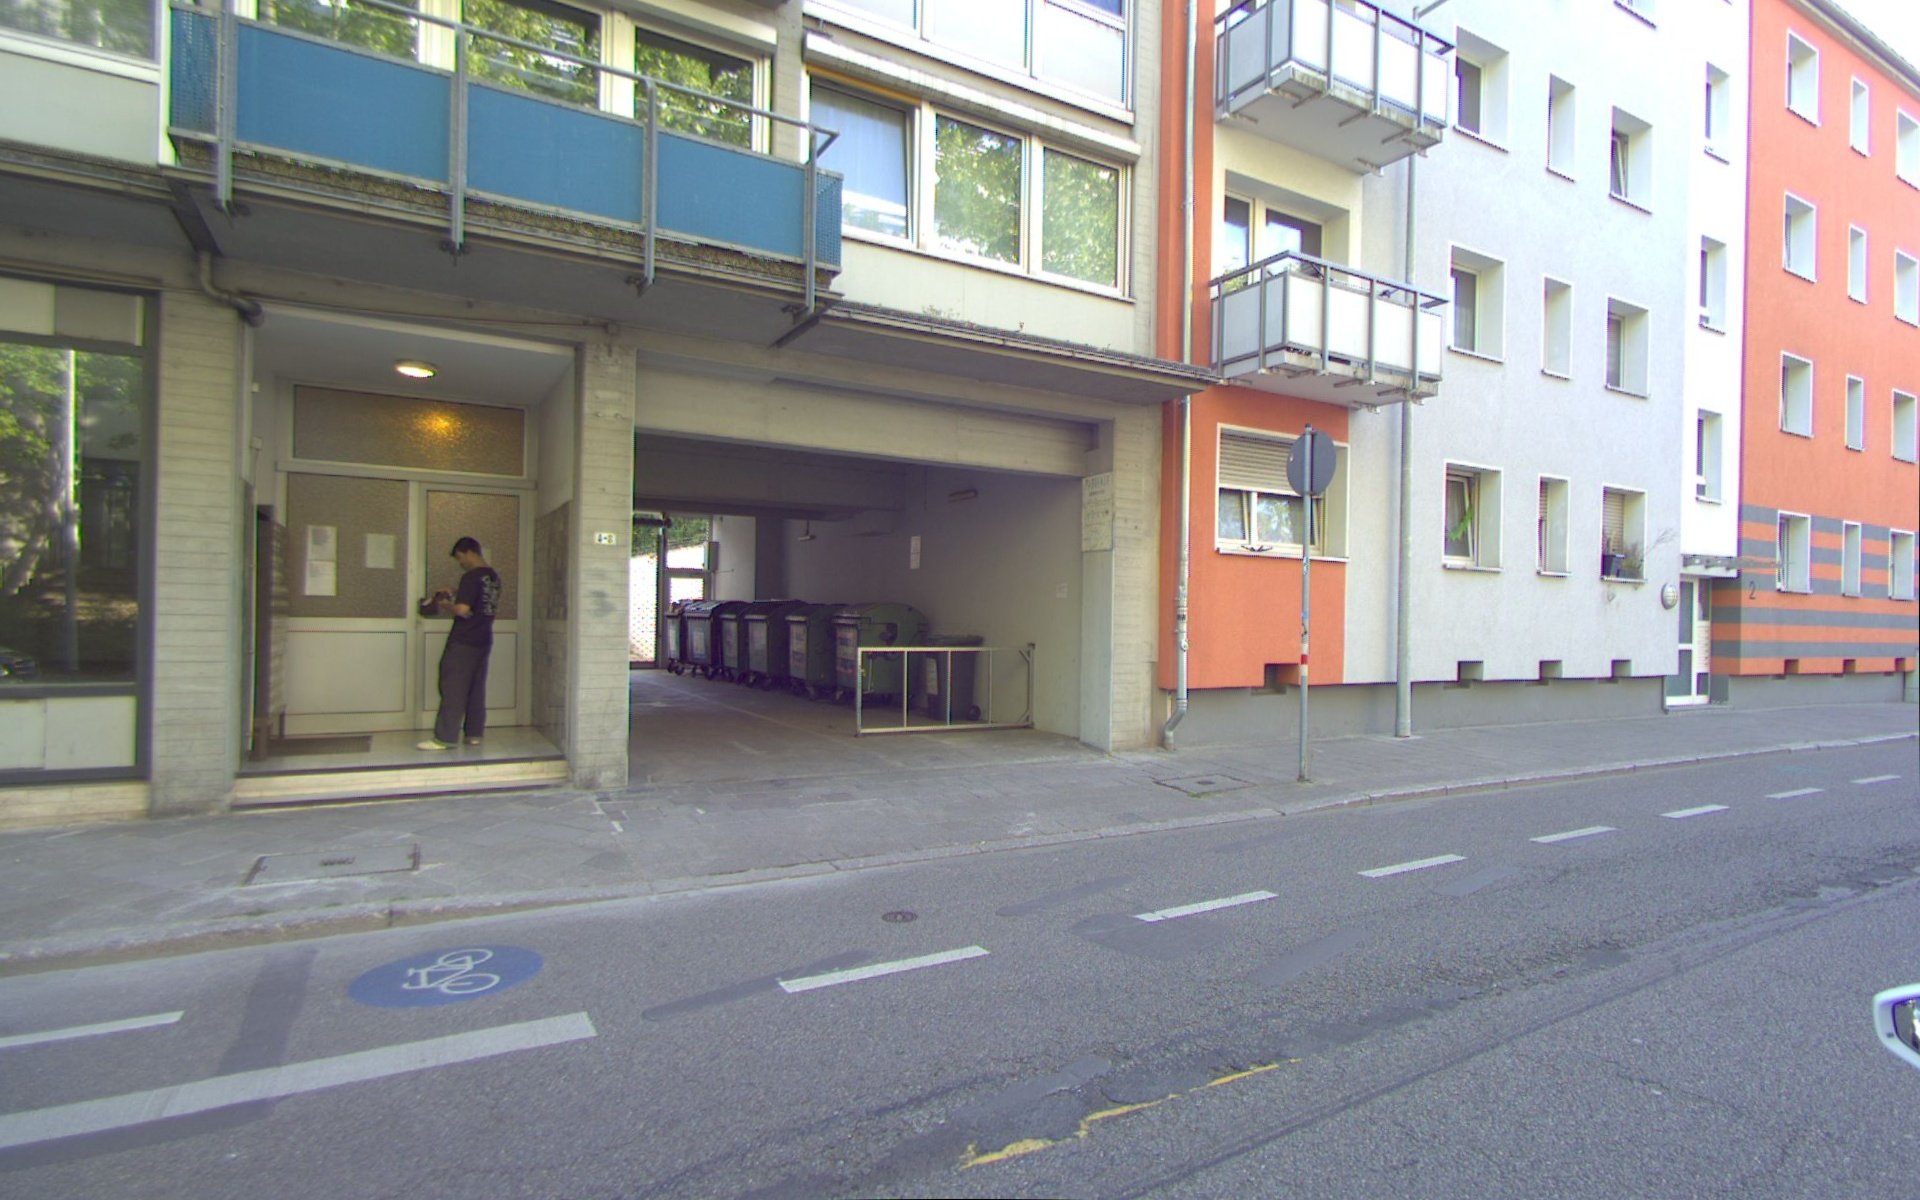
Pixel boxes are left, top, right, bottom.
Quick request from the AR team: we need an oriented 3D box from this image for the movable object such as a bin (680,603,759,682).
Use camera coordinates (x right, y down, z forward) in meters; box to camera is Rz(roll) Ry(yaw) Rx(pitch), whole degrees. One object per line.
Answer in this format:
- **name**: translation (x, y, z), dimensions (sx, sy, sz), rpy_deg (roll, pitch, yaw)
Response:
- **movable object such as a bin**: translation (-4.527, 0.784, 18.868), dimensions (1.014, 1.409, 1.264), rpy_deg (1, 0, -37)

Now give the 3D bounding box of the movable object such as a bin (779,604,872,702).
- **movable object such as a bin**: translation (-2.077, 0.786, 15.357), dimensions (1.011, 1.409, 1.319), rpy_deg (1, 0, -27)

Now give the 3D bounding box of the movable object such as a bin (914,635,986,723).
- **movable object such as a bin**: translation (-0.132, 0.979, 12.707), dimensions (0.704, 1.054, 0.583), rpy_deg (1, 0, -30)

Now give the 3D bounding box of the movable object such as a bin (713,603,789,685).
- **movable object such as a bin**: translation (-3.732, 0.768, 17.916), dimensions (1.012, 1.409, 1.046), rpy_deg (1, 0, -31)

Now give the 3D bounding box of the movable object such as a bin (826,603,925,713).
- **movable object such as a bin**: translation (-1.197, 0.778, 14.050), dimensions (1.009, 1.438, 1.321), rpy_deg (1, 0, -23)

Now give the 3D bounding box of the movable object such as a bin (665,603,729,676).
- **movable object such as a bin**: translation (-5.339, 0.776, 20.325), dimensions (1.010, 1.409, 1.246), rpy_deg (1, 0, -27)

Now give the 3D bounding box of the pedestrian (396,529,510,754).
- **pedestrian**: translation (-4.180, 0.327, 8.297), dimensions (0.518, 1.764, 0.630), rpy_deg (1, 0, 27)

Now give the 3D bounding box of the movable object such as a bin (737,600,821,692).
- **movable object such as a bin**: translation (-3.057, 0.742, 16.878), dimensions (1.011, 1.462, 1.317), rpy_deg (1, 0, -29)
